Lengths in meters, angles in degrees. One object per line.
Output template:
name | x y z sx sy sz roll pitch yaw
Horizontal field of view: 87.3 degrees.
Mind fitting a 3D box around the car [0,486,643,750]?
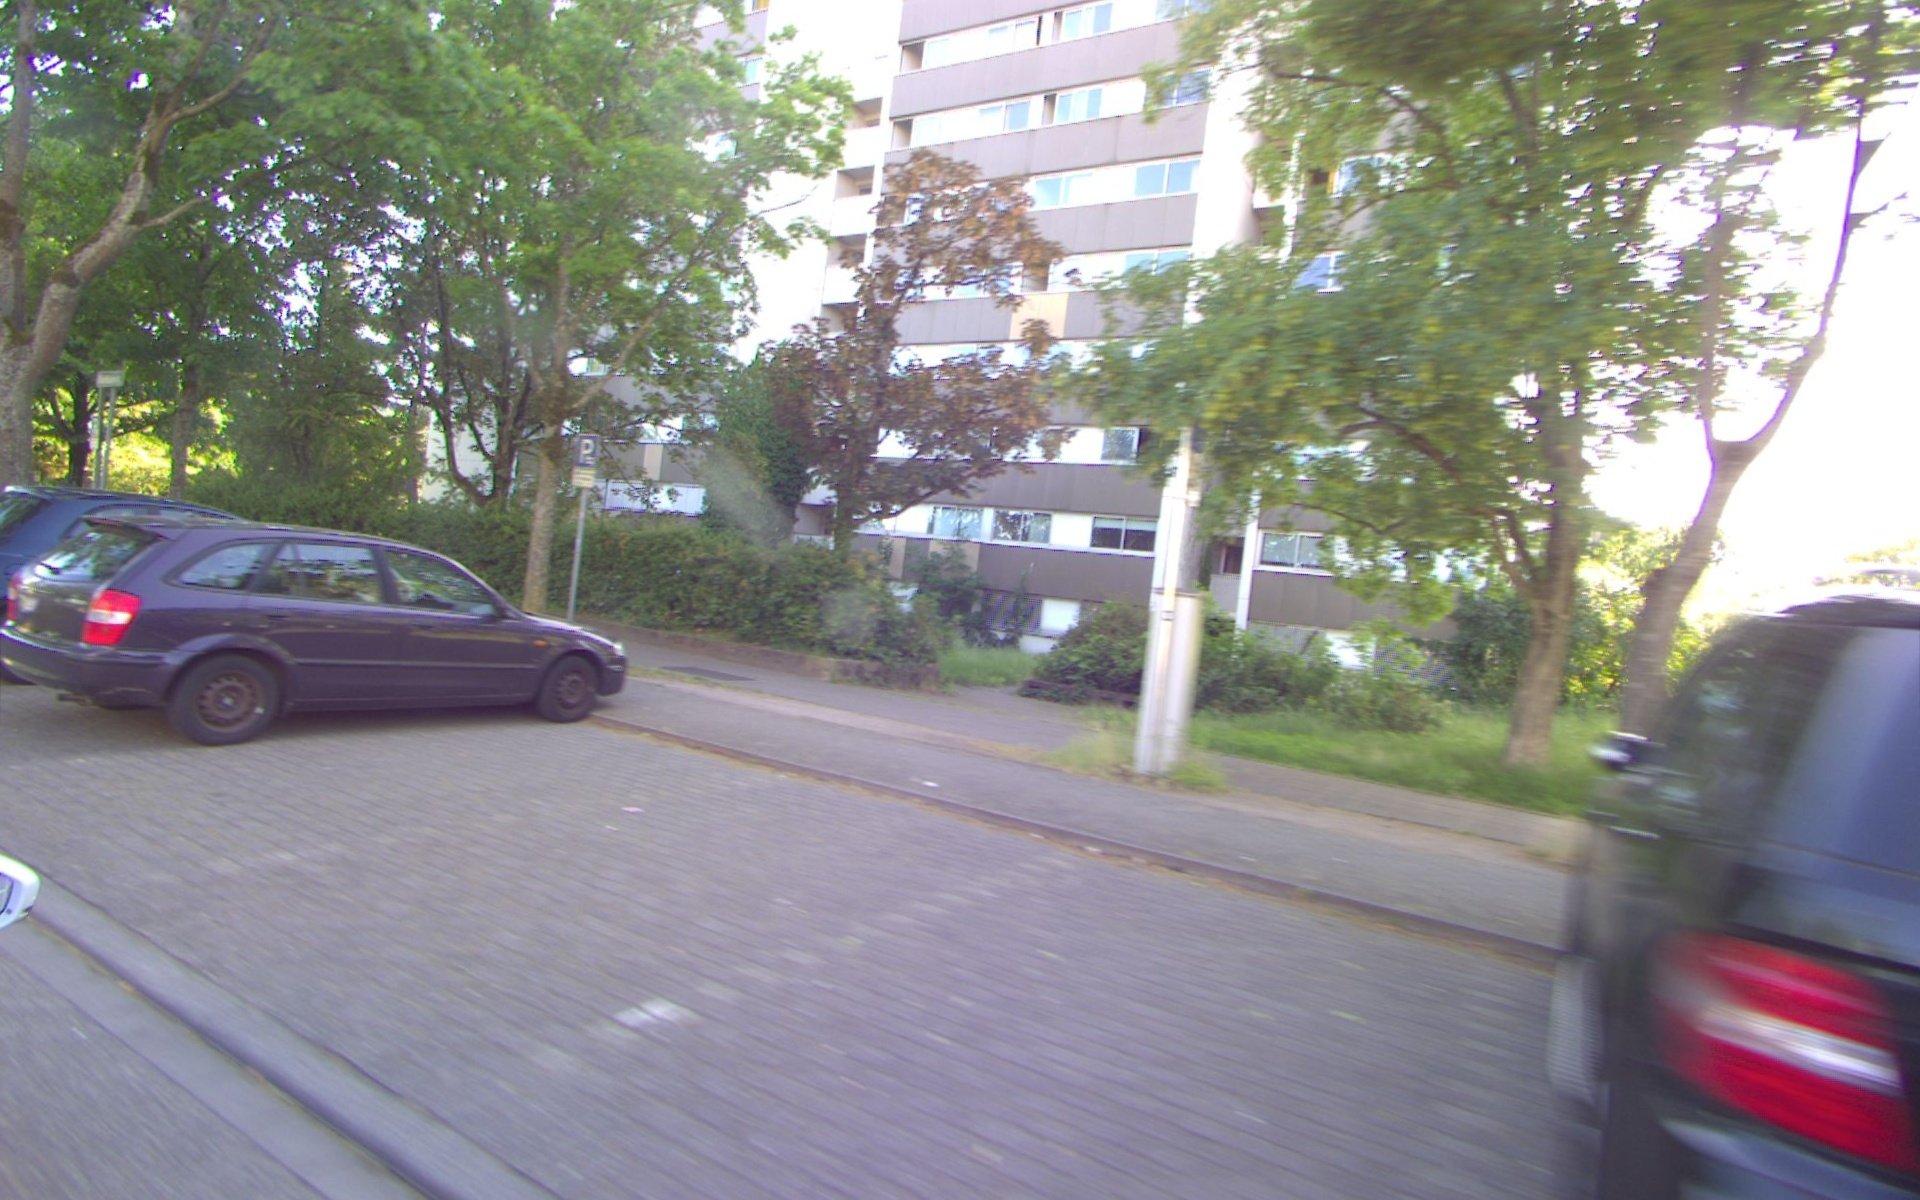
car | -4.655 0.118 7.722 1.791 1.405 3.990 7 1 30

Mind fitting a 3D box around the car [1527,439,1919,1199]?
car | 2.902 0.870 2.934 1.966 1.802 4.591 7 1 31

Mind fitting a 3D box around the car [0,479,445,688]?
car | -6.995 -0.150 9.112 1.672 1.518 3.813 7 2 27
